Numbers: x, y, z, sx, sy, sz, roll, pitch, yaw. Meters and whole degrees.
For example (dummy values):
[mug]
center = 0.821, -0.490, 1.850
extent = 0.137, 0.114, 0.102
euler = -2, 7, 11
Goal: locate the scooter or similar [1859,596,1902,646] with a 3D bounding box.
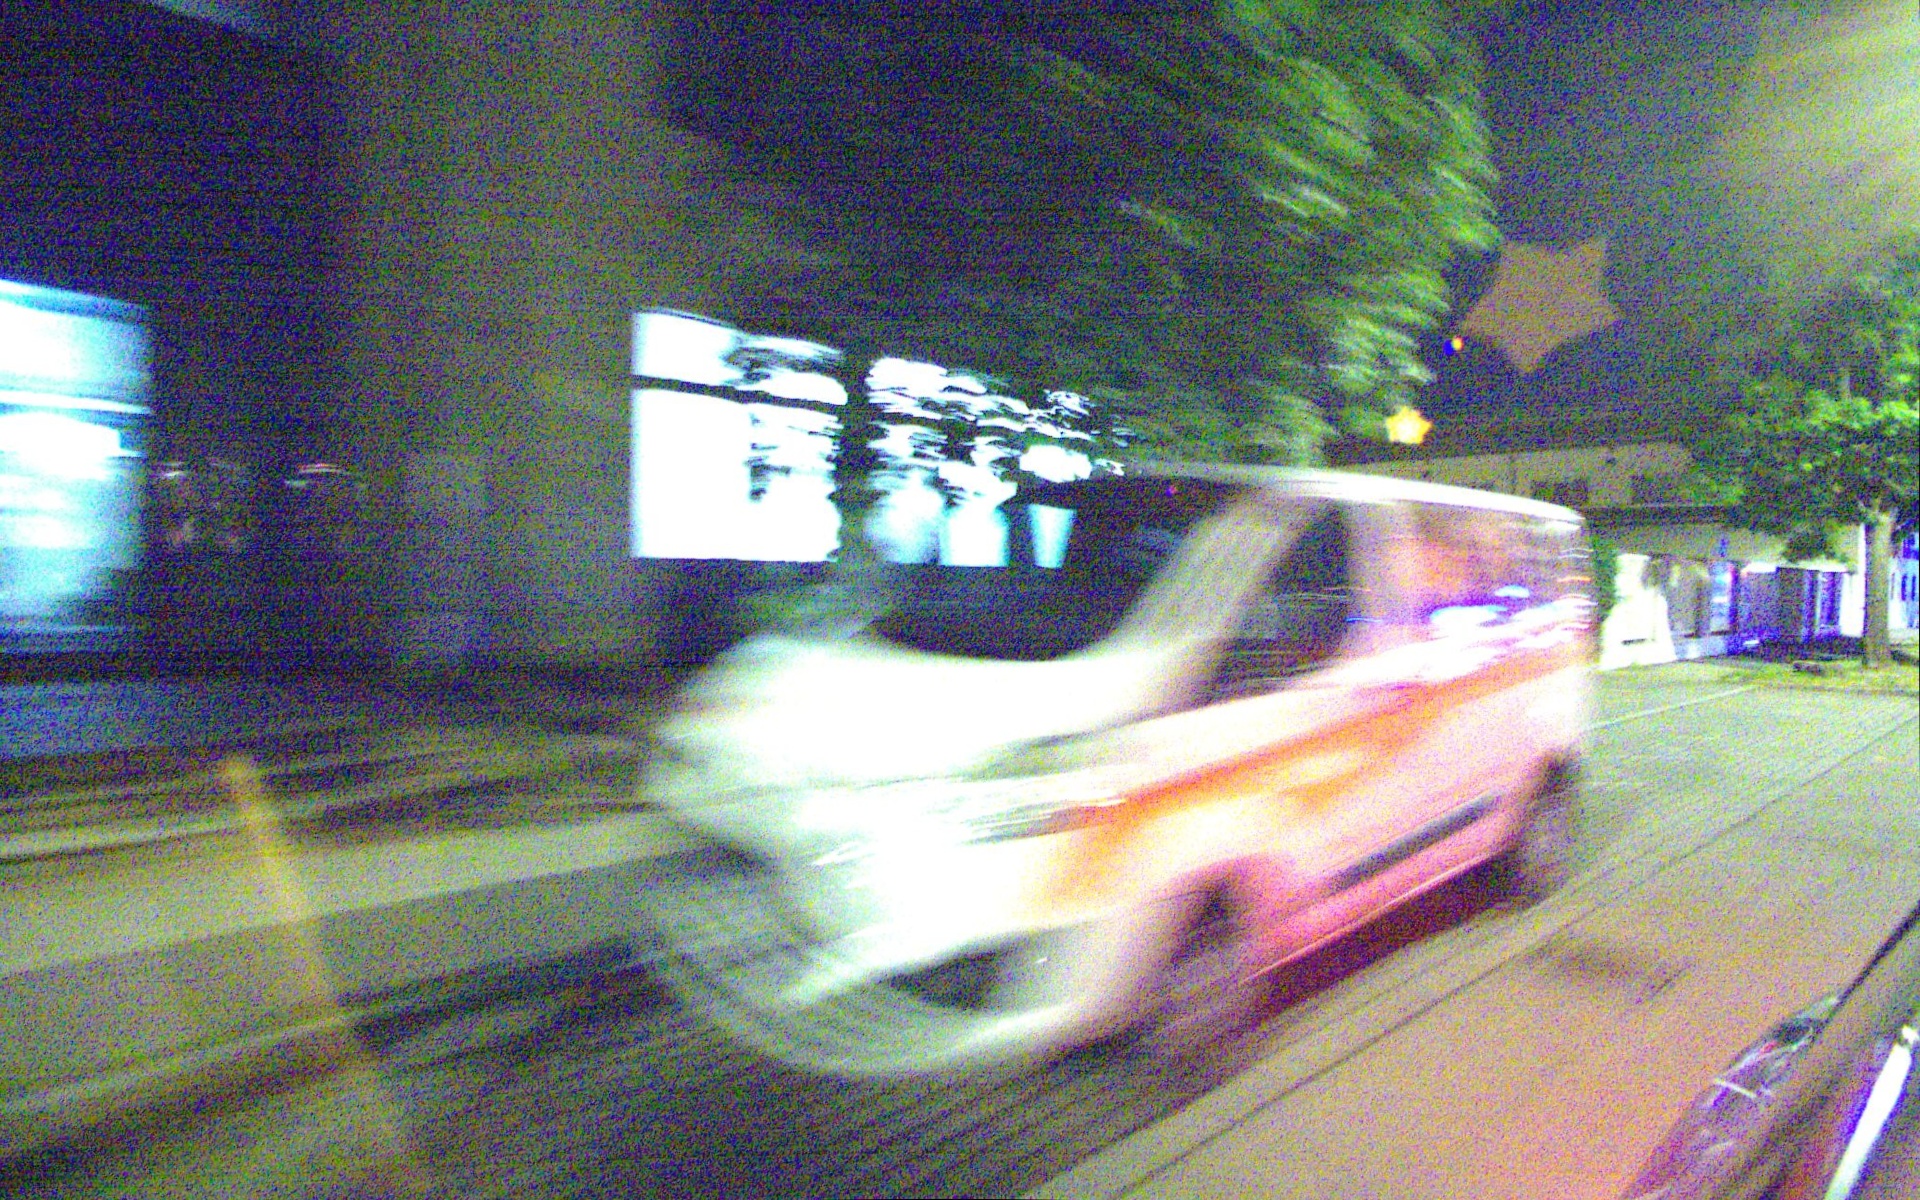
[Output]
[scooter or similar]
center = 24.808, 0.548, 27.274
extent = 1.877, 1.217, 0.548
euler = -2, 6, -41

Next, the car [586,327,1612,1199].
[car]
center = 0.998, 0.373, 4.406
extent = 4.525, 1.988, 1.954
euler = 0, 2, -42
